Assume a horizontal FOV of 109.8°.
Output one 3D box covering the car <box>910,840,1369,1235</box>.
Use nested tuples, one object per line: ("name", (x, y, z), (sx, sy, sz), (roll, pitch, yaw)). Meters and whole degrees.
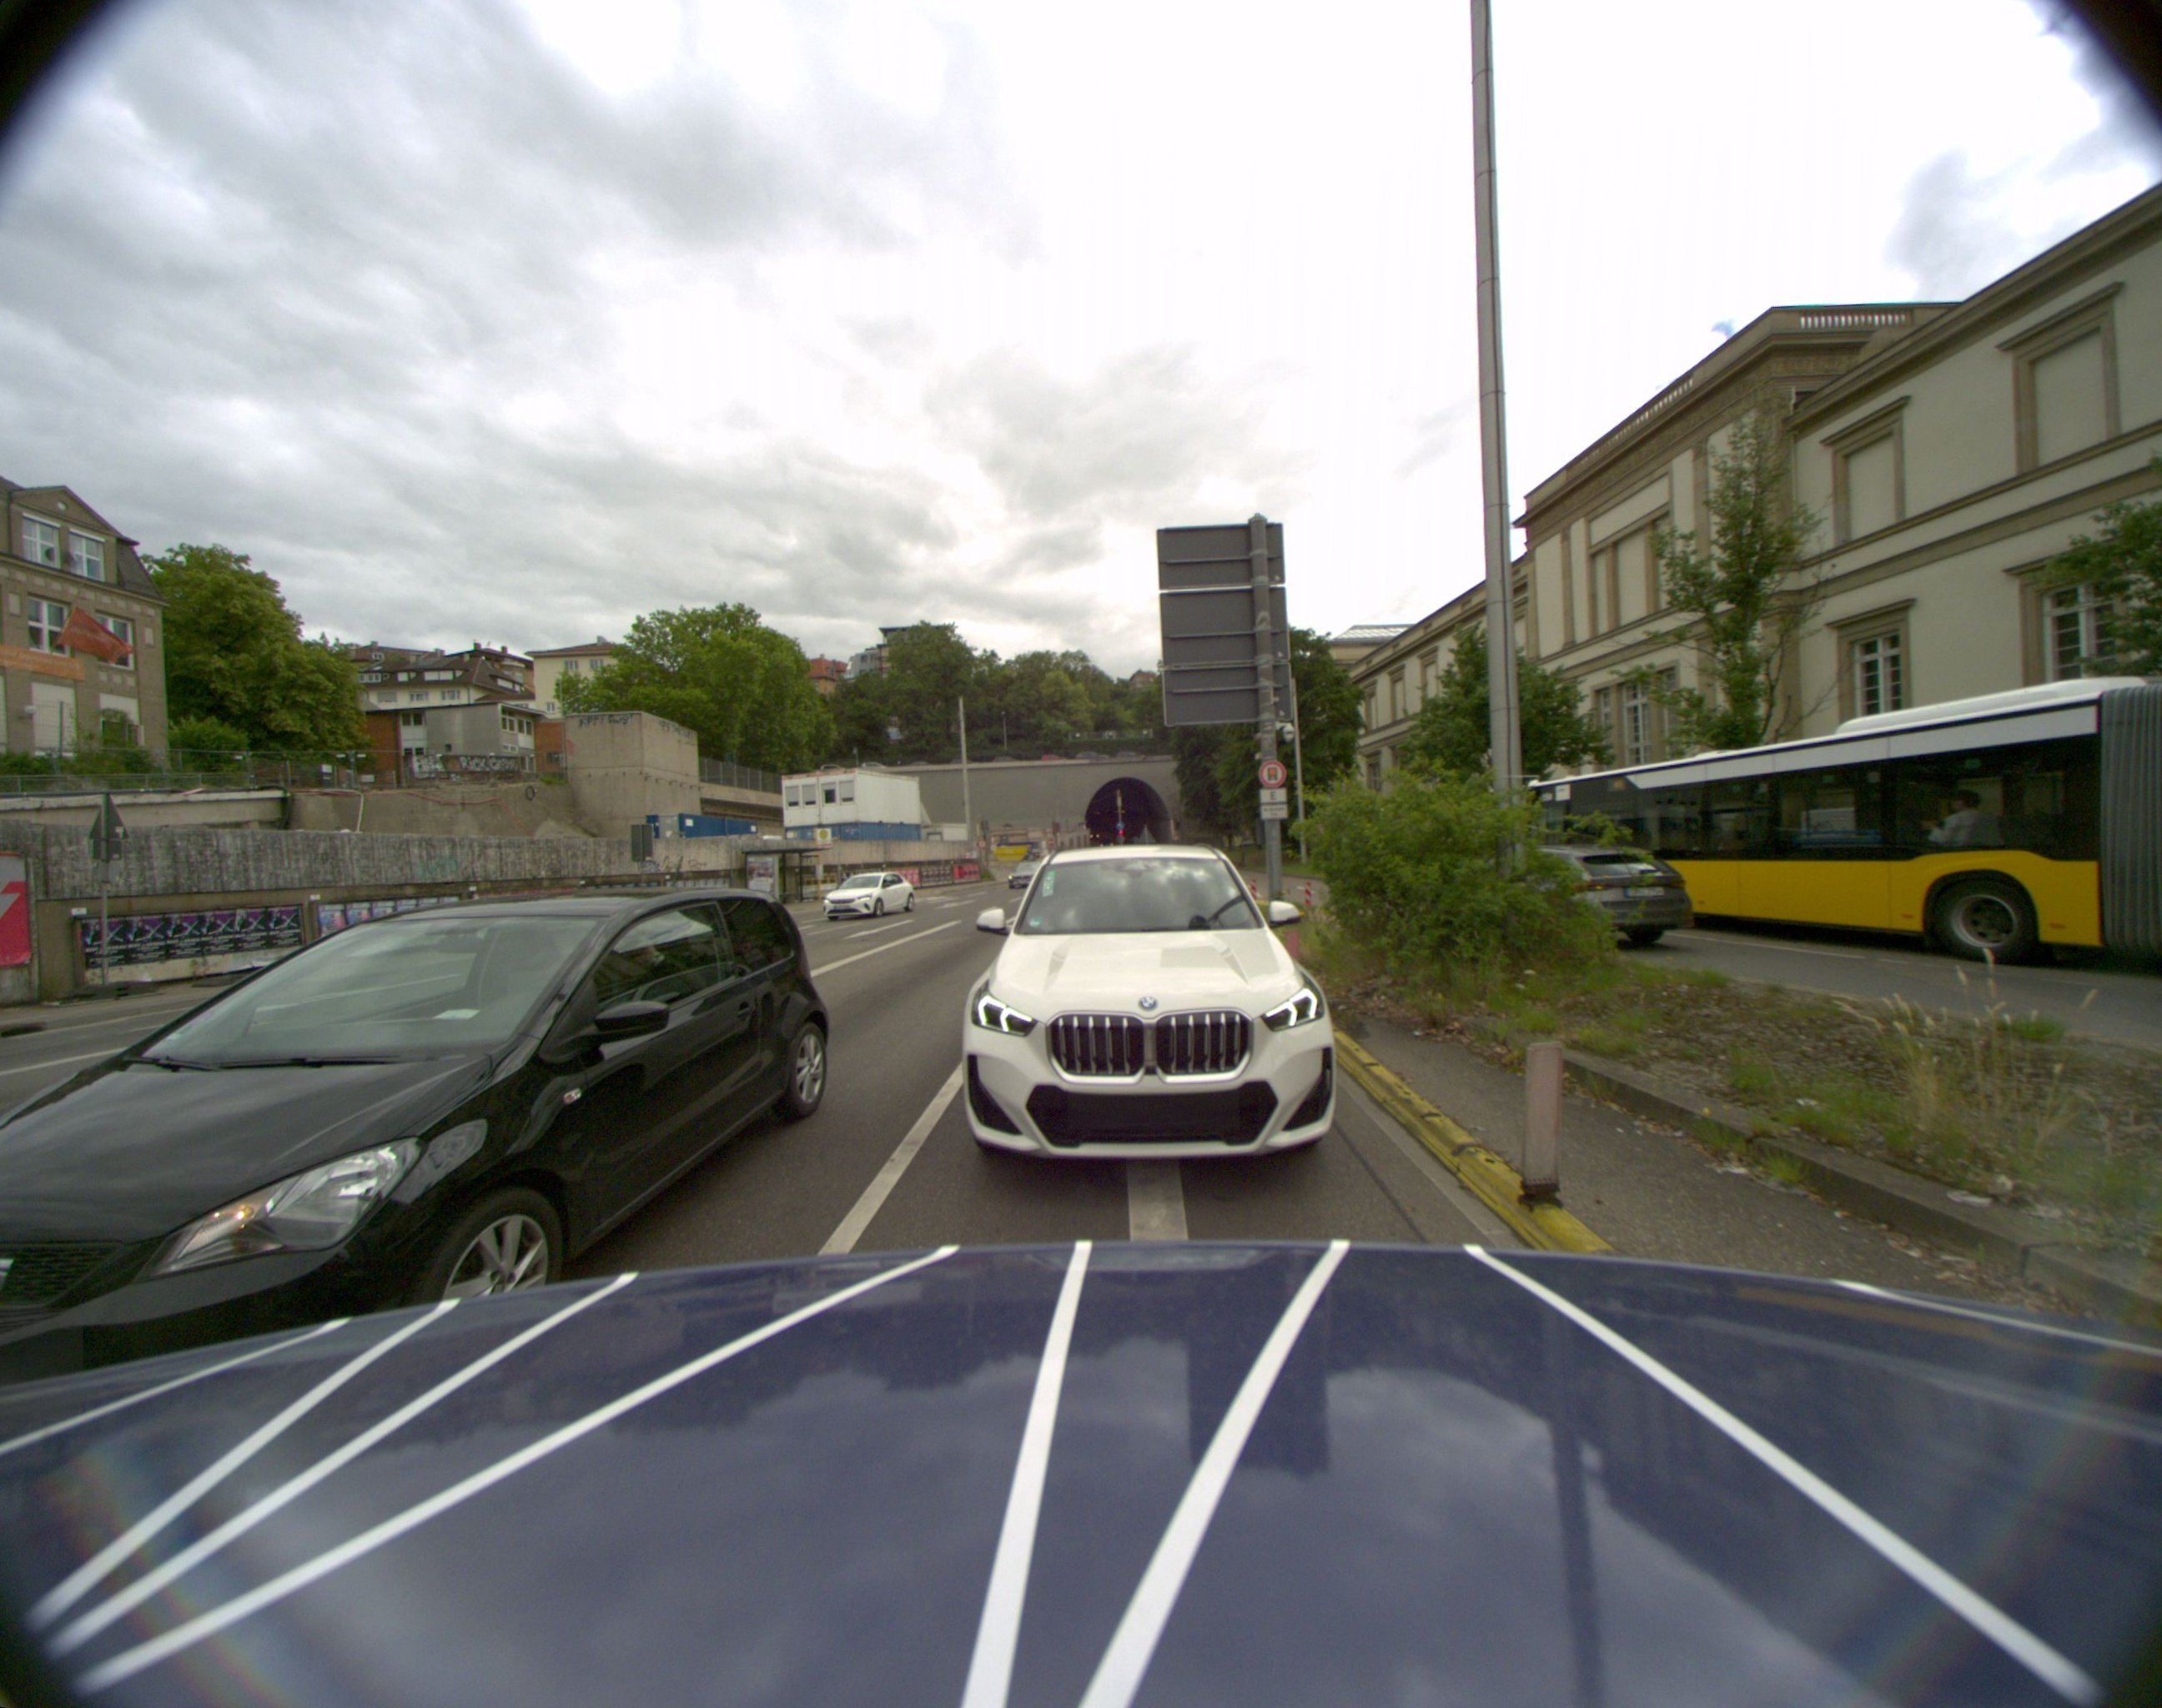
("car", (0.306, 0.775, 5.127), (1.848, 1.581, 3.882), (-3, 0, 2))

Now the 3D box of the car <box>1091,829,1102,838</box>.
("car", (2.769, -3.601, 135.858), (1.730, 1.435, 4.001), (-3, 0, 5))

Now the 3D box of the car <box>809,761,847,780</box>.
("car", (-31.054, -10.243, 93.307), (3.998, 2.002, 1.999), (-2, 1, -5))

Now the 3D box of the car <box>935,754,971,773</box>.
("car", (-15.793, -11.190, 93.893), (3.998, 2.002, 1.999), (-2, 1, -2))

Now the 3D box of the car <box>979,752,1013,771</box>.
("car", (-10.474, -11.386, 94.003), (3.998, 2.002, 1.999), (-2, 1, -2))

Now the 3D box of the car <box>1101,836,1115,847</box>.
("car", (3.604, -1.665, 101.626), (1.728, 1.310, 4.000), (-3, 0, 1))

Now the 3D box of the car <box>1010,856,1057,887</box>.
("car", (-2.756, 0.974, 44.831), (1.825, 1.562, 4.656), (-3, 0, 8))

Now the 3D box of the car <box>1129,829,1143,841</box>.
("car", (7.816, -2.622, 108.203), (1.667, 1.582, 3.882), (-1, 0, 2))

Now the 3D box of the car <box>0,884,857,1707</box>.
("car", (-2.504, 1.002, 3.404), (1.667, 1.487, 3.882), (-3, 0, 2))

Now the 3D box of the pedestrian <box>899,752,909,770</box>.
("pedestrian", (-21.105, -11.060, 90.534), (0.851, 2.002, 0.905), (-3, 1, -3))

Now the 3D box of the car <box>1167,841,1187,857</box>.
("car", (9.552, -0.508, 75.828), (1.539, 1.542, 2.823), (-2, 0, -2))

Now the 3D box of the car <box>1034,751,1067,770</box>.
("car", (-3.768, -11.635, 94.397), (3.998, 2.002, 1.999), (-2, 1, -2))

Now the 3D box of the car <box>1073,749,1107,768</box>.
("car", (1.110, -11.814, 94.481), (3.998, 2.002, 1.999), (-2, 1, -2))

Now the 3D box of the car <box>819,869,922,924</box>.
("car", (-6.891, 1.351, 25.324), (1.662, 1.471, 4.002), (-3, 0, 10))

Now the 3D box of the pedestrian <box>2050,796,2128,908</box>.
("pedestrian", (15.584, -0.029, 11.762), (0.586, 1.685, 0.459), (-2, 1, 35))

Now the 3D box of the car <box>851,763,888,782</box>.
("car", (-26.005, -10.056, 93.370), (3.998, 2.002, 1.999), (-2, 1, -5))

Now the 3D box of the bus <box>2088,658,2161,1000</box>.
("bus", (11.227, -0.277, 2.805), (2.853, 3.096, 9.121), (-3, 0, 0))

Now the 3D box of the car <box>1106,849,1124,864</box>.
("car", (3.655, 0.238, 81.677), (1.705, 1.550, 4.550), (-3, 0, 1))

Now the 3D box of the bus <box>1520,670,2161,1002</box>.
("bus", (11.208, -0.234, 11.990), (2.853, 3.096, 9.748), (-3, 0, 0))

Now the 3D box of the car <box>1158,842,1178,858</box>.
("car", (8.726, -0.410, 76.436), (1.667, 1.582, 3.882), (-1, 0, 2))

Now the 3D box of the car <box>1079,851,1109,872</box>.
("car", (1.139, 0.598, 64.659), (1.703, 1.550, 4.554), (-3, 0, 11))

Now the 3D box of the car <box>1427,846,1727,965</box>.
("car", (7.293, 0.648, 11.811), (1.711, 1.505, 4.287), (0, 0, -3))
